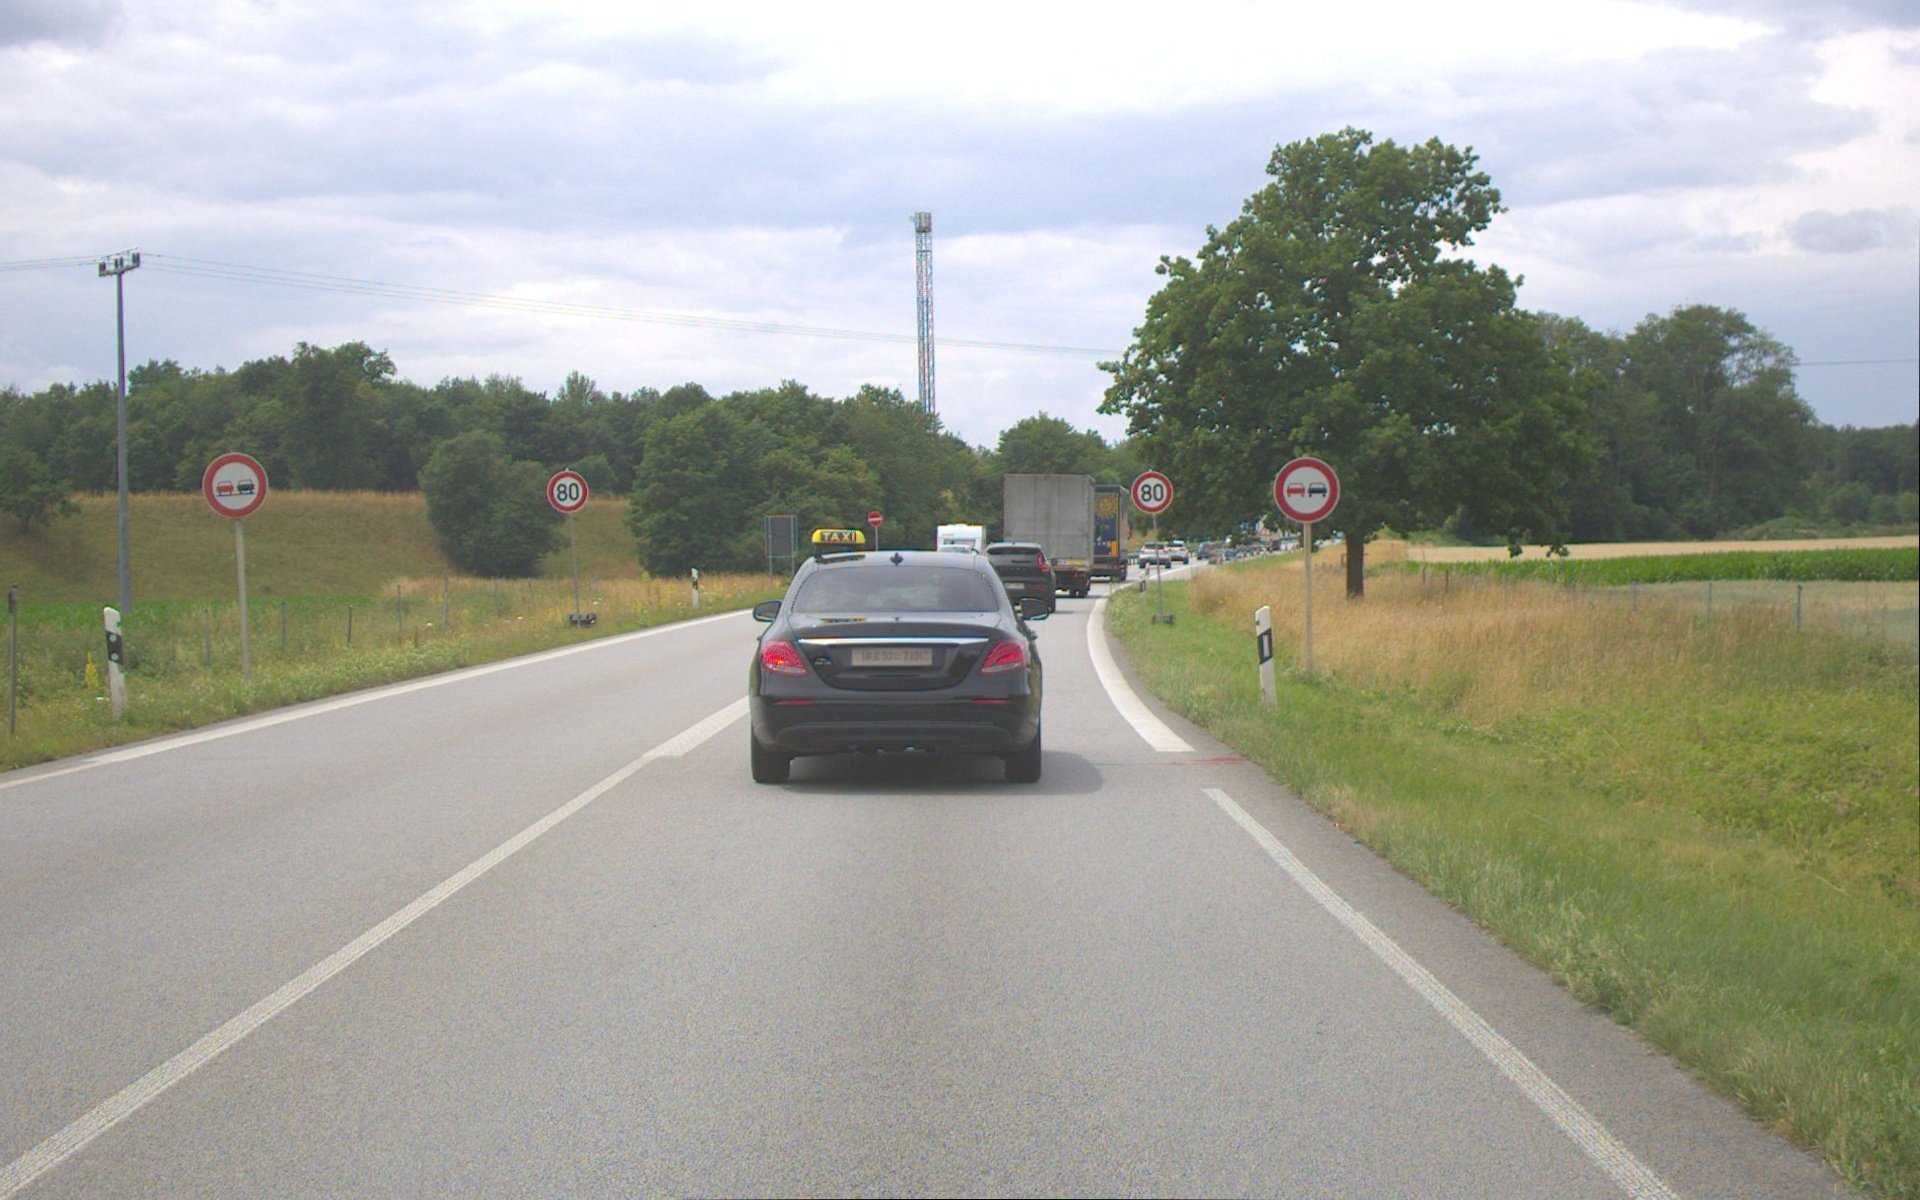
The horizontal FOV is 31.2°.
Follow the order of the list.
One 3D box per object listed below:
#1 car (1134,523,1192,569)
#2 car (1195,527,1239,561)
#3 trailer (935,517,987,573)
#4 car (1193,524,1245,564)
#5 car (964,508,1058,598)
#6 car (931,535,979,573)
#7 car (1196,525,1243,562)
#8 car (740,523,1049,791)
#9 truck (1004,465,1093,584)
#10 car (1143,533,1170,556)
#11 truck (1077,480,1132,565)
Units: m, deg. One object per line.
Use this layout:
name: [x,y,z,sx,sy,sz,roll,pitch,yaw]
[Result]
car: [7.507,-1.984,127.287,1.795,1.657,4.000,1,0,-1]
car: [13.111,-2.854,175.534,1.795,1.657,4.000,1,0,-1]
trailer: [0.056,-2.547,161.270,2.182,2.566,6.243,1,0,2]
car: [11.058,-2.390,146.948,1.795,1.657,4.000,1,0,-1]
car: [1.164,-1.081,80.104,1.993,2.007,4.000,1,0,-1]
car: [-0.191,-2.068,155.992,2.006,1.652,4.327,1,0,2]
car: [12.199,-2.653,161.819,1.795,1.657,4.000,1,0,-1]
car: [-0.437,0.321,22.335,1.795,1.554,4.000,1,0,-1]
truck: [2.710,-2.261,104.774,2.587,3.512,4.812,1,0,2]
car: [12.241,-3.426,213.794,1.649,1.391,3.705,1,0,3]
truck: [6.087,-3.246,145.253,1.993,3.513,4.592,1,0,-1]
